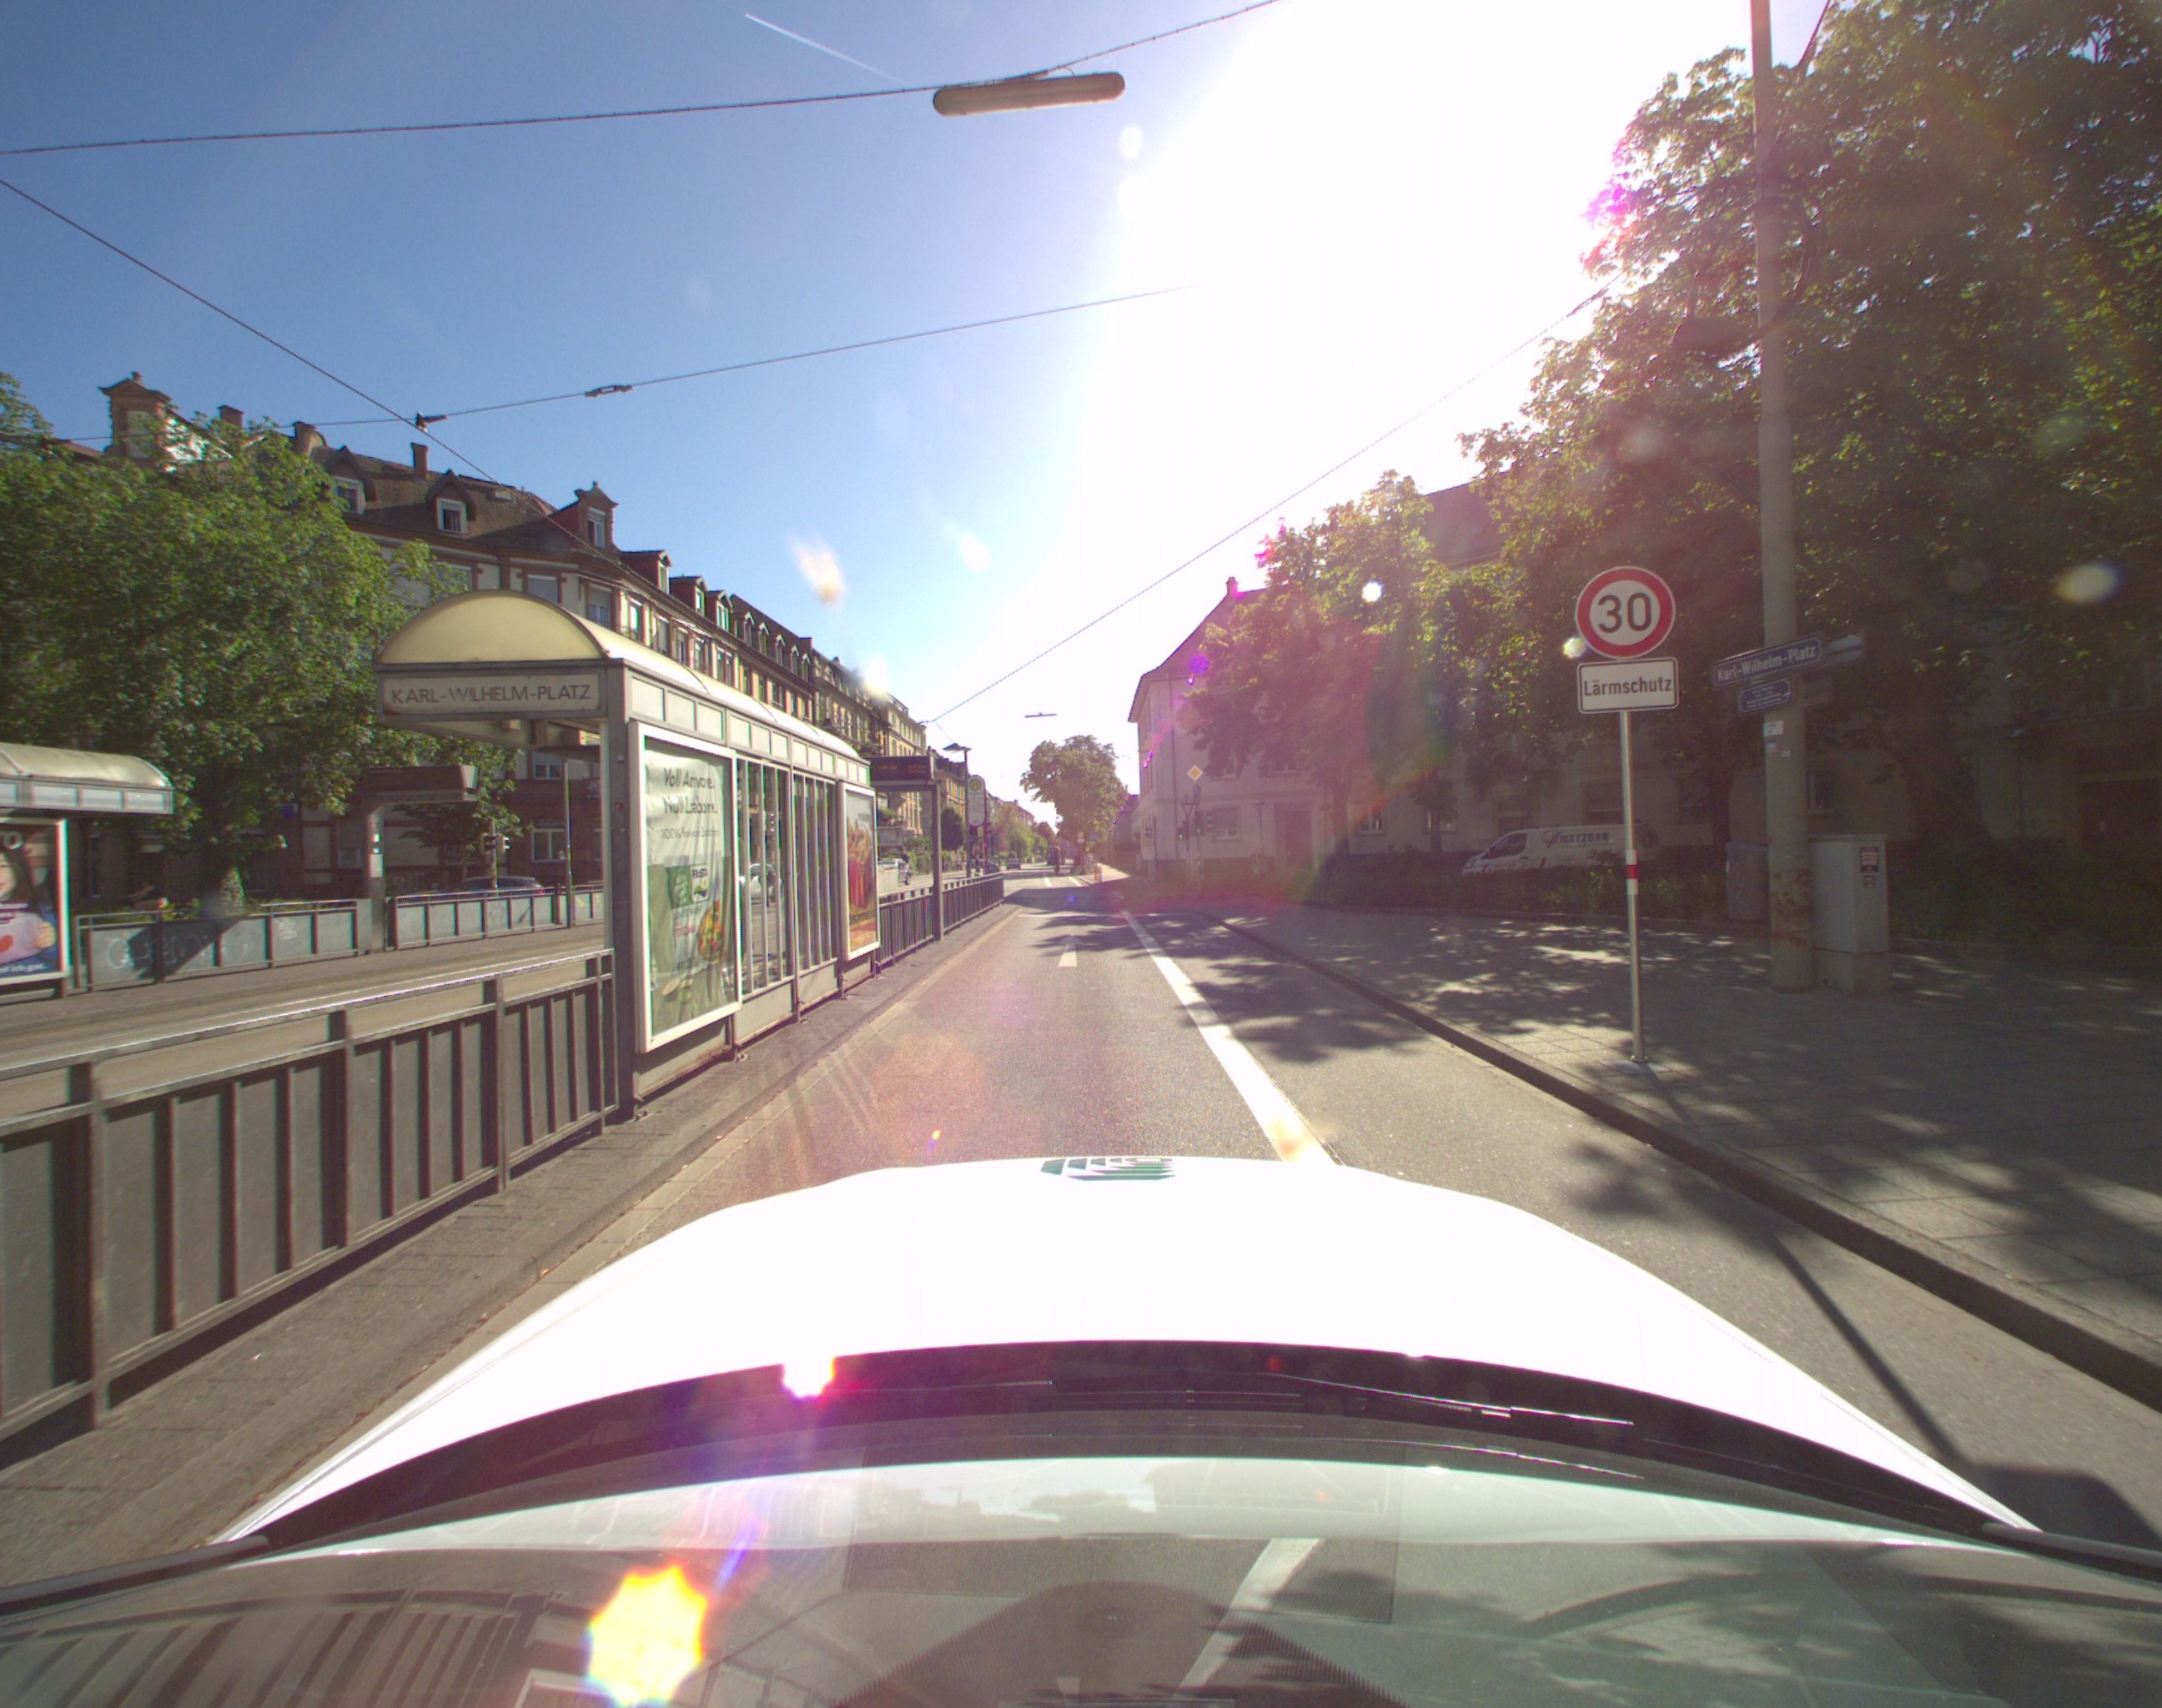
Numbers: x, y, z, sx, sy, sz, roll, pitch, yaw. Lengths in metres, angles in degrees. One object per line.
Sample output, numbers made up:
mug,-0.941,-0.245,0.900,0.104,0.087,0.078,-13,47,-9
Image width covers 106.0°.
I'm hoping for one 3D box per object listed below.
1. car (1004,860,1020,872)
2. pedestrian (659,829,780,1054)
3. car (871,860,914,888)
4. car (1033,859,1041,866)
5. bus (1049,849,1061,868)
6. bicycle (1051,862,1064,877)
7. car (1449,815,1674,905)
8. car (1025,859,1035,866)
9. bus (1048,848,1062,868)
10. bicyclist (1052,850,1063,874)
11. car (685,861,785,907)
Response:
car,-9.359,1.632,110.905,1.989,1.596,3.995,-1,-1,-3
pedestrian,-3.402,0.794,7.718,0.793,2.014,0.740,-1,-1,1
car,-11.513,1.206,49.999,1.771,1.618,3.998,-1,-1,-1
car,-11.720,2.265,217.149,1.987,1.596,3.999,-1,-1,0
bus,-5.001,0.829,157.118,2.379,3.496,7.378,-1,-1,-2
bicycle,-1.823,1.186,63.552,0.839,1.156,2.539,-1,-1,1
car,13.092,0.179,22.492,2.135,2.208,4.889,0,-1,-37
car,-12.014,1.971,192.556,1.987,1.596,3.999,-1,-1,0
bus,-4.807,0.753,149.732,2.379,3.496,7.378,-1,-1,-2
bicyclist,-1.810,0.607,63.478,0.815,1.811,1.059,-1,-1,0
car,-13.135,1.105,31.166,1.767,1.618,4.006,-1,-1,6
